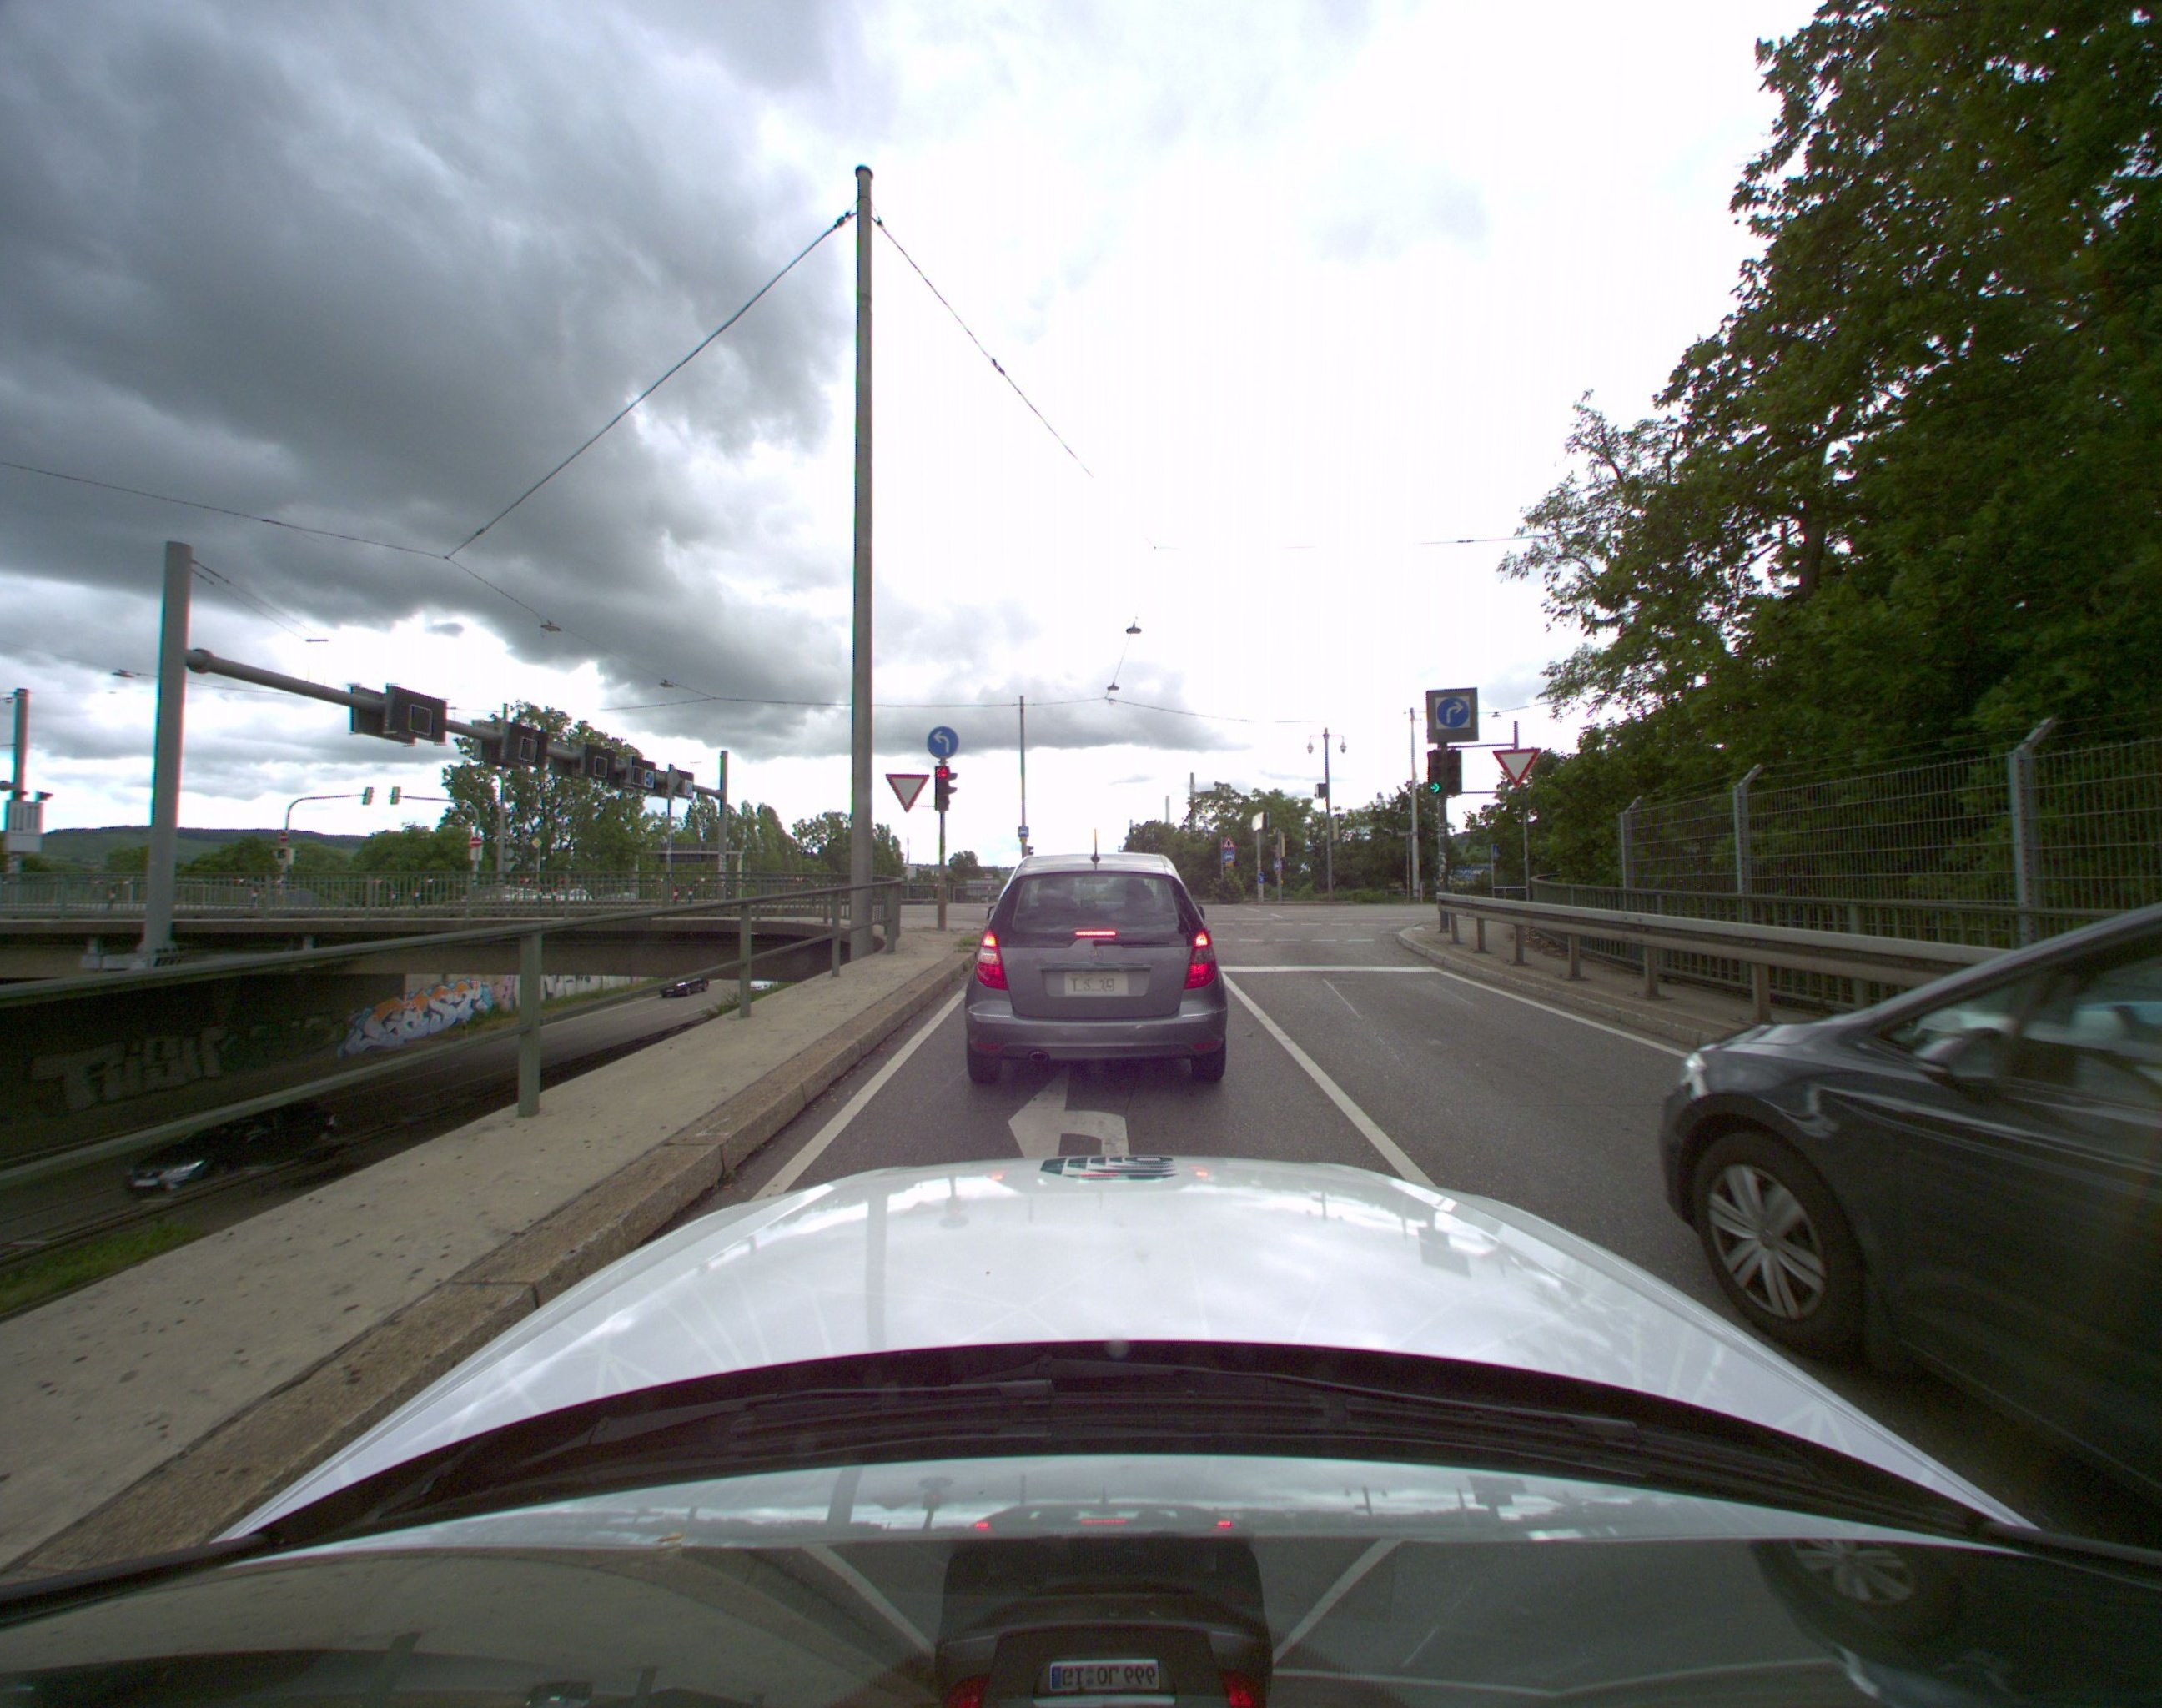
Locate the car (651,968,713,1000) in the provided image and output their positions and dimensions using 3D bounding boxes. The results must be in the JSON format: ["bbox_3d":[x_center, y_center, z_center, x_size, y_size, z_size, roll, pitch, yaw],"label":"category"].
[{"bbox_3d":[-28.397,9.228,58.093,1.986,1.626,4.580,-3,-3,2],"label":"car"}]

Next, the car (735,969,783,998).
[{"bbox_3d":[-22.533,9.064,57.065,1.769,1.494,3.896,-3,-3,0],"label":"car"}]

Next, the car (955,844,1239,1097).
[{"bbox_3d":[0.159,0.732,6.772,1.733,1.543,3.542,0,-1,2],"label":"car"}]

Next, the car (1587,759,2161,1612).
[{"bbox_3d":[2.981,0.636,1.312,1.790,1.653,4.150,0,-1,1],"label":"car"}]

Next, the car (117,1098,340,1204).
[{"bbox_3d":[-21.355,7.413,20.641,1.708,1.454,3.650,-2,-3,1],"label":"car"}]

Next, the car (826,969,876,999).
[{"bbox_3d":[-15.308,8.635,54.392,1.850,1.465,4.427,-1,-3,3],"label":"car"}]
